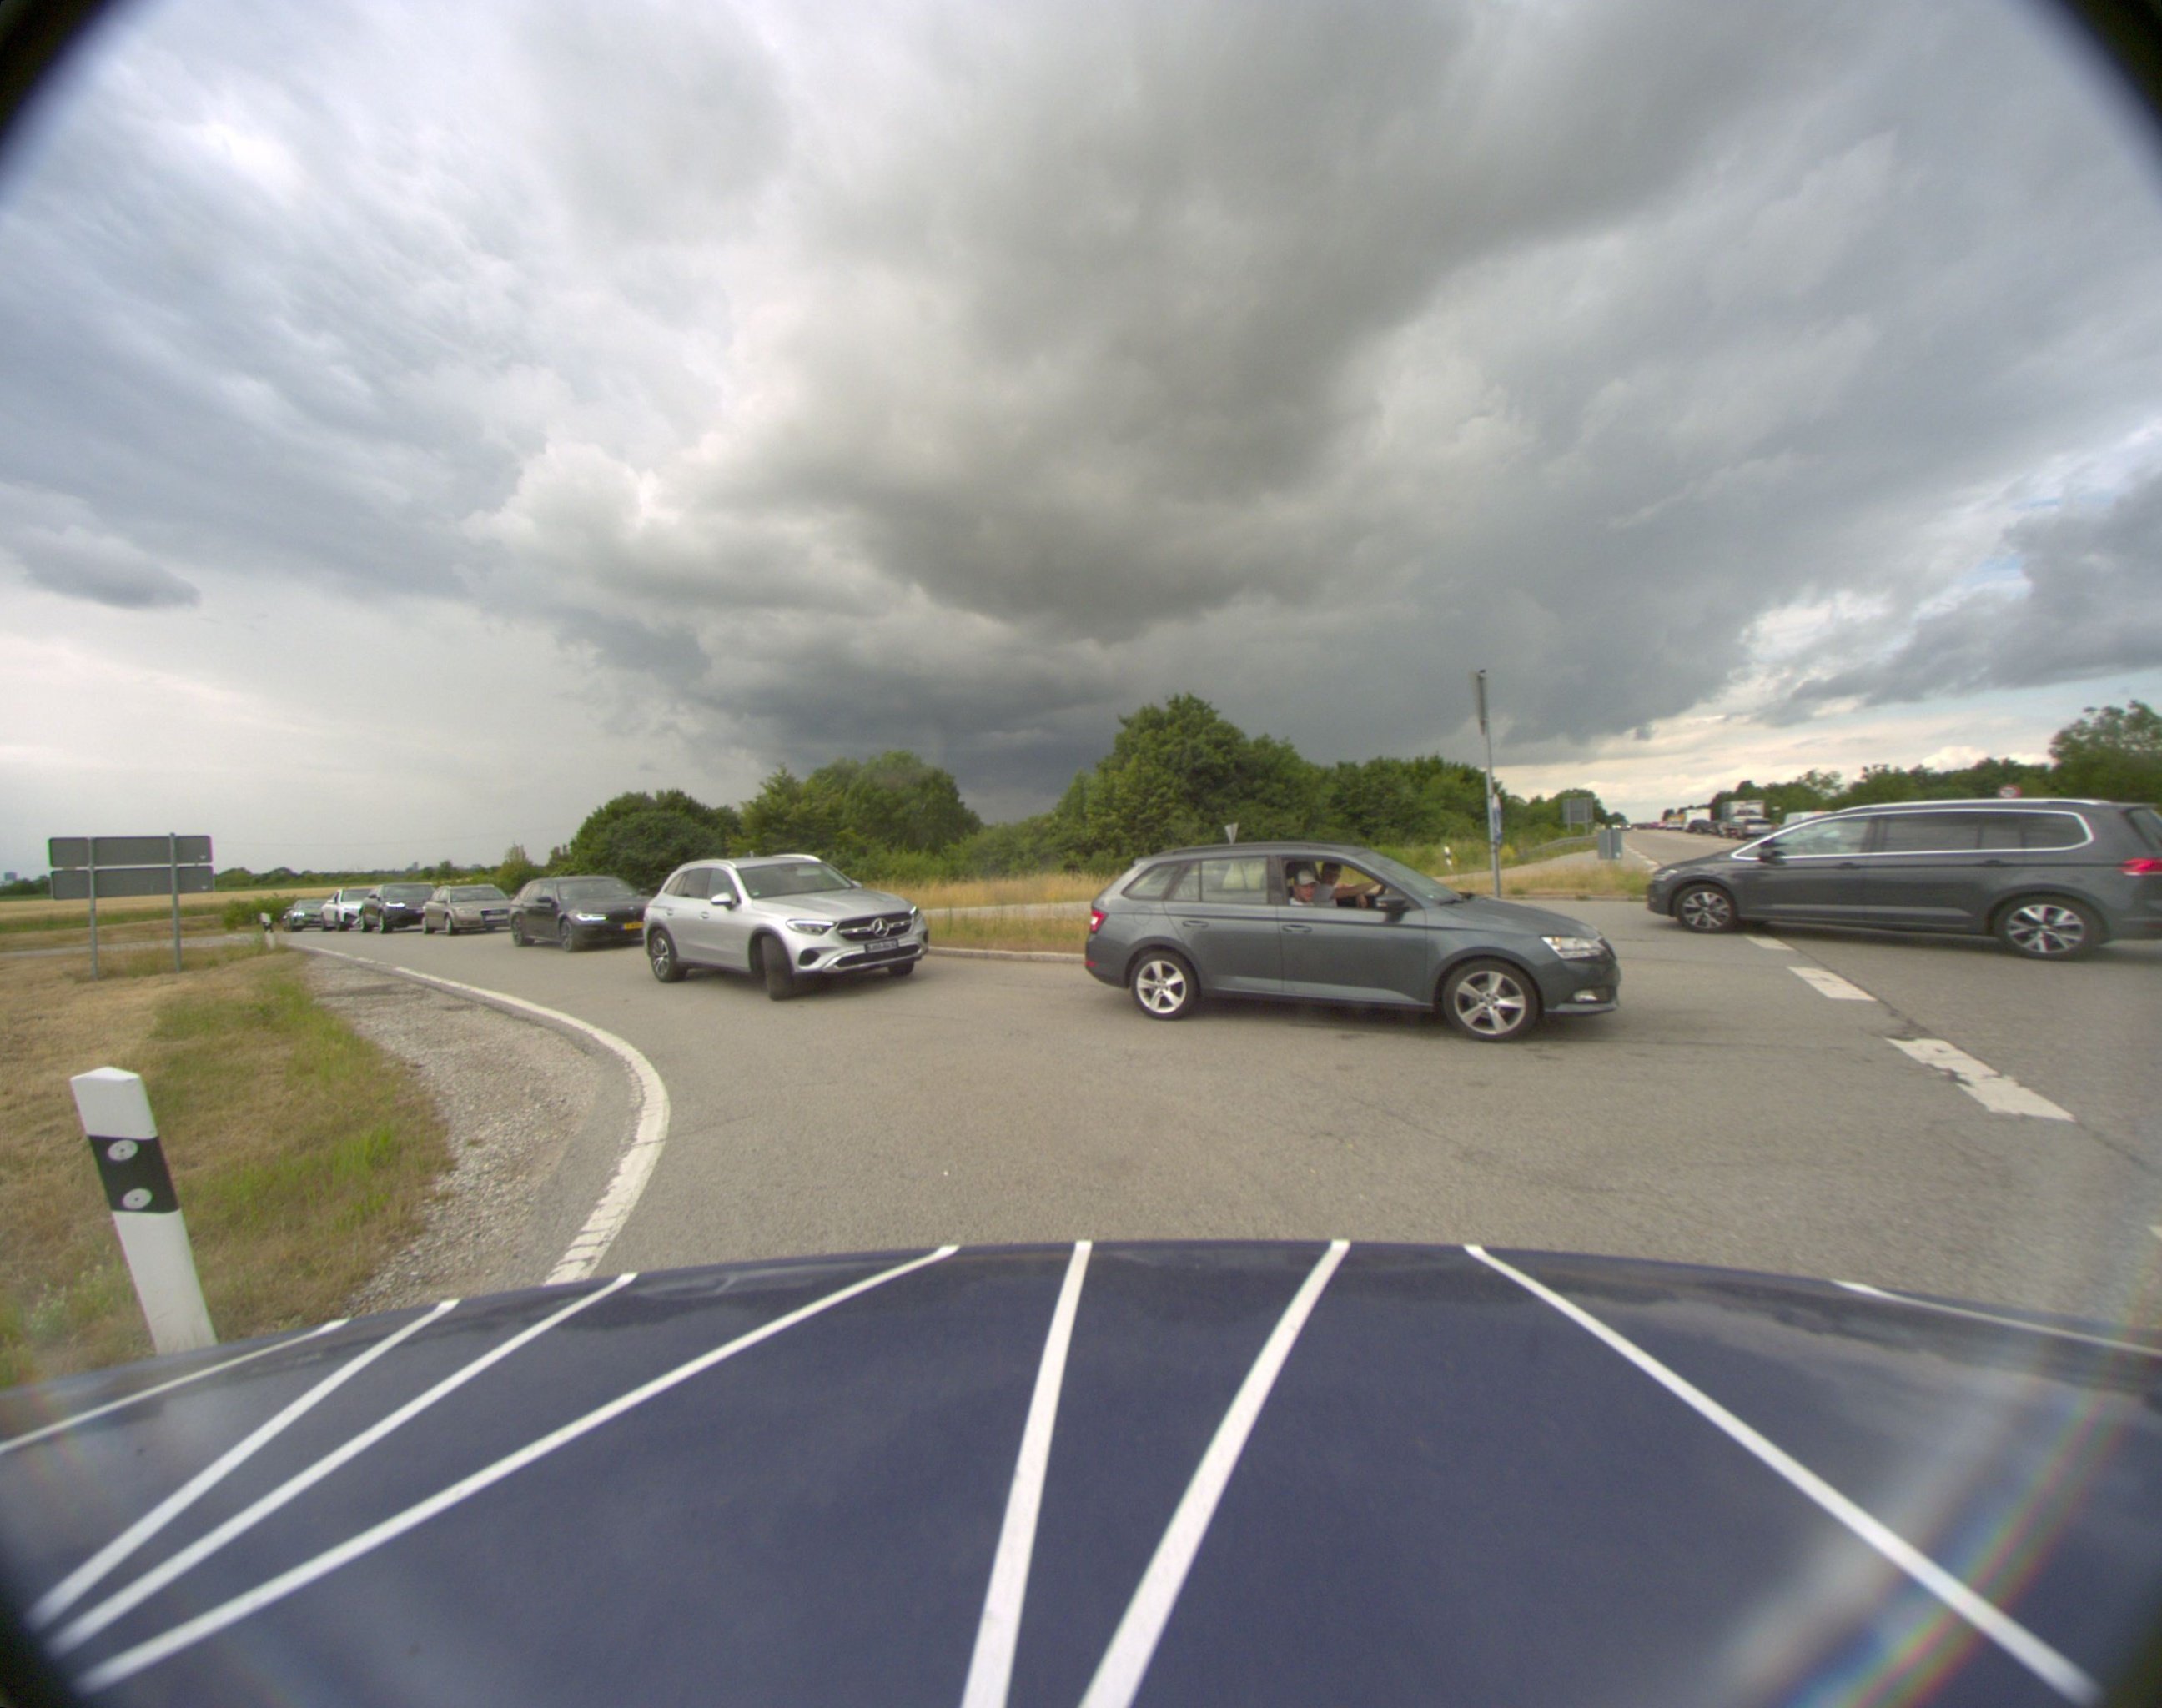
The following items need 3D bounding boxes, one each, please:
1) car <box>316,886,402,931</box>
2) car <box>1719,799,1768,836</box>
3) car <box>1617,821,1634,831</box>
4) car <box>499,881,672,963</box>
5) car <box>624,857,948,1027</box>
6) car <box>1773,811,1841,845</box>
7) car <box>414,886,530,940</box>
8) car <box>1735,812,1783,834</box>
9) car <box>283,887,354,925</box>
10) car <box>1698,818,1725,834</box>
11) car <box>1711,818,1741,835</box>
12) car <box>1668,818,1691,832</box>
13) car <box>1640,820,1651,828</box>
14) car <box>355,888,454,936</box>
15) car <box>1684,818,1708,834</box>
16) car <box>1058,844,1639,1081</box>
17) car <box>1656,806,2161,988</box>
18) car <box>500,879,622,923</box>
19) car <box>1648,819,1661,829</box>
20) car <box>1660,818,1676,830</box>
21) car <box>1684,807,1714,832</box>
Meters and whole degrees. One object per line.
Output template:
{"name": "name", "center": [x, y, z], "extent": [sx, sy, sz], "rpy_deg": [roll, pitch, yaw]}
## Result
{"name": "car", "center": [-28.615, 2.083, 30.061], "extent": [4.625, 1.486, 1.725], "rpy_deg": [-2, 3, 38]}
{"name": "car", "center": [57.059, -3.042, 65.523], "extent": [2.334, 3.012, 6.570], "rpy_deg": [1, 2, 34]}
{"name": "car", "center": [86.979, -4.450, 121.429], "extent": [1.994, 1.474, 4.007], "rpy_deg": [-2, 1, 34]}
{"name": "car", "center": [-10.562, 1.319, 16.048], "extent": [4.682, 1.346, 1.725], "rpy_deg": [-2, 3, 41]}
{"name": "car", "center": [-3.957, 0.939, 9.833], "extent": [4.382, 1.577, 2.000], "rpy_deg": [-2, 3, 41]}
{"name": "car", "center": [44.252, -1.582, 46.472], "extent": [2.107, 1.875, 5.400], "rpy_deg": [-1, 1, 34]}
{"name": "car", "center": [-18.100, 1.692, 22.513], "extent": [4.202, 1.345, 1.725], "rpy_deg": [-2, 1, 38]}
{"name": "car", "center": [50.516, -2.276, 56.675], "extent": [1.994, 1.614, 4.269], "rpy_deg": [1, 2, 33]}
{"name": "car", "center": [-35.274, 2.359, 35.120], "extent": [4.202, 1.486, 1.725], "rpy_deg": [-2, 3, 38]}
{"name": "car", "center": [68.507, -3.028, 82.617], "extent": [1.843, 1.516, 4.007], "rpy_deg": [-2, 0, 34]}
{"name": "car", "center": [63.894, -2.724, 75.341], "extent": [1.843, 1.516, 4.008], "rpy_deg": [-2, 0, 35]}
{"name": "car", "center": [88.723, -4.275, 112.636], "extent": [2.335, 1.911, 4.884], "rpy_deg": [-2, 0, 34]}
{"name": "car", "center": [125.428, -6.666, 168.764], "extent": [1.853, 1.740, 4.007], "rpy_deg": [-2, 1, 35]}
{"name": "car", "center": [-23.233, 1.932, 26.061], "extent": [4.202, 1.346, 1.725], "rpy_deg": [-2, 3, 38]}
{"name": "car", "center": [73.130, -3.294, 90.399], "extent": [1.853, 1.740, 4.007], "rpy_deg": [-2, 1, 34]}
{"name": "car", "center": [2.053, 0.741, 6.466], "extent": [4.107, 1.439, 1.721], "rpy_deg": [-2, 2, 28]}
{"name": "car", "center": [9.650, 0.348, 8.916], "extent": [1.756, 1.649, 4.280], "rpy_deg": [-2, 2, -28]}
{"name": "car", "center": [-19.466, 1.729, 28.404], "extent": [4.381, 1.443, 1.775], "rpy_deg": [-2, 1, 26]}
{"name": "car", "center": [111.762, -5.805, 148.168], "extent": [1.853, 1.740, 4.007], "rpy_deg": [-2, 1, 35]}
{"name": "car", "center": [101.983, -5.198, 132.022], "extent": [1.793, 2.002, 4.007], "rpy_deg": [-2, 1, 33]}
{"name": "car", "center": [80.402, -4.420, 98.918], "extent": [2.335, 3.011, 6.570], "rpy_deg": [-2, 0, 34]}
